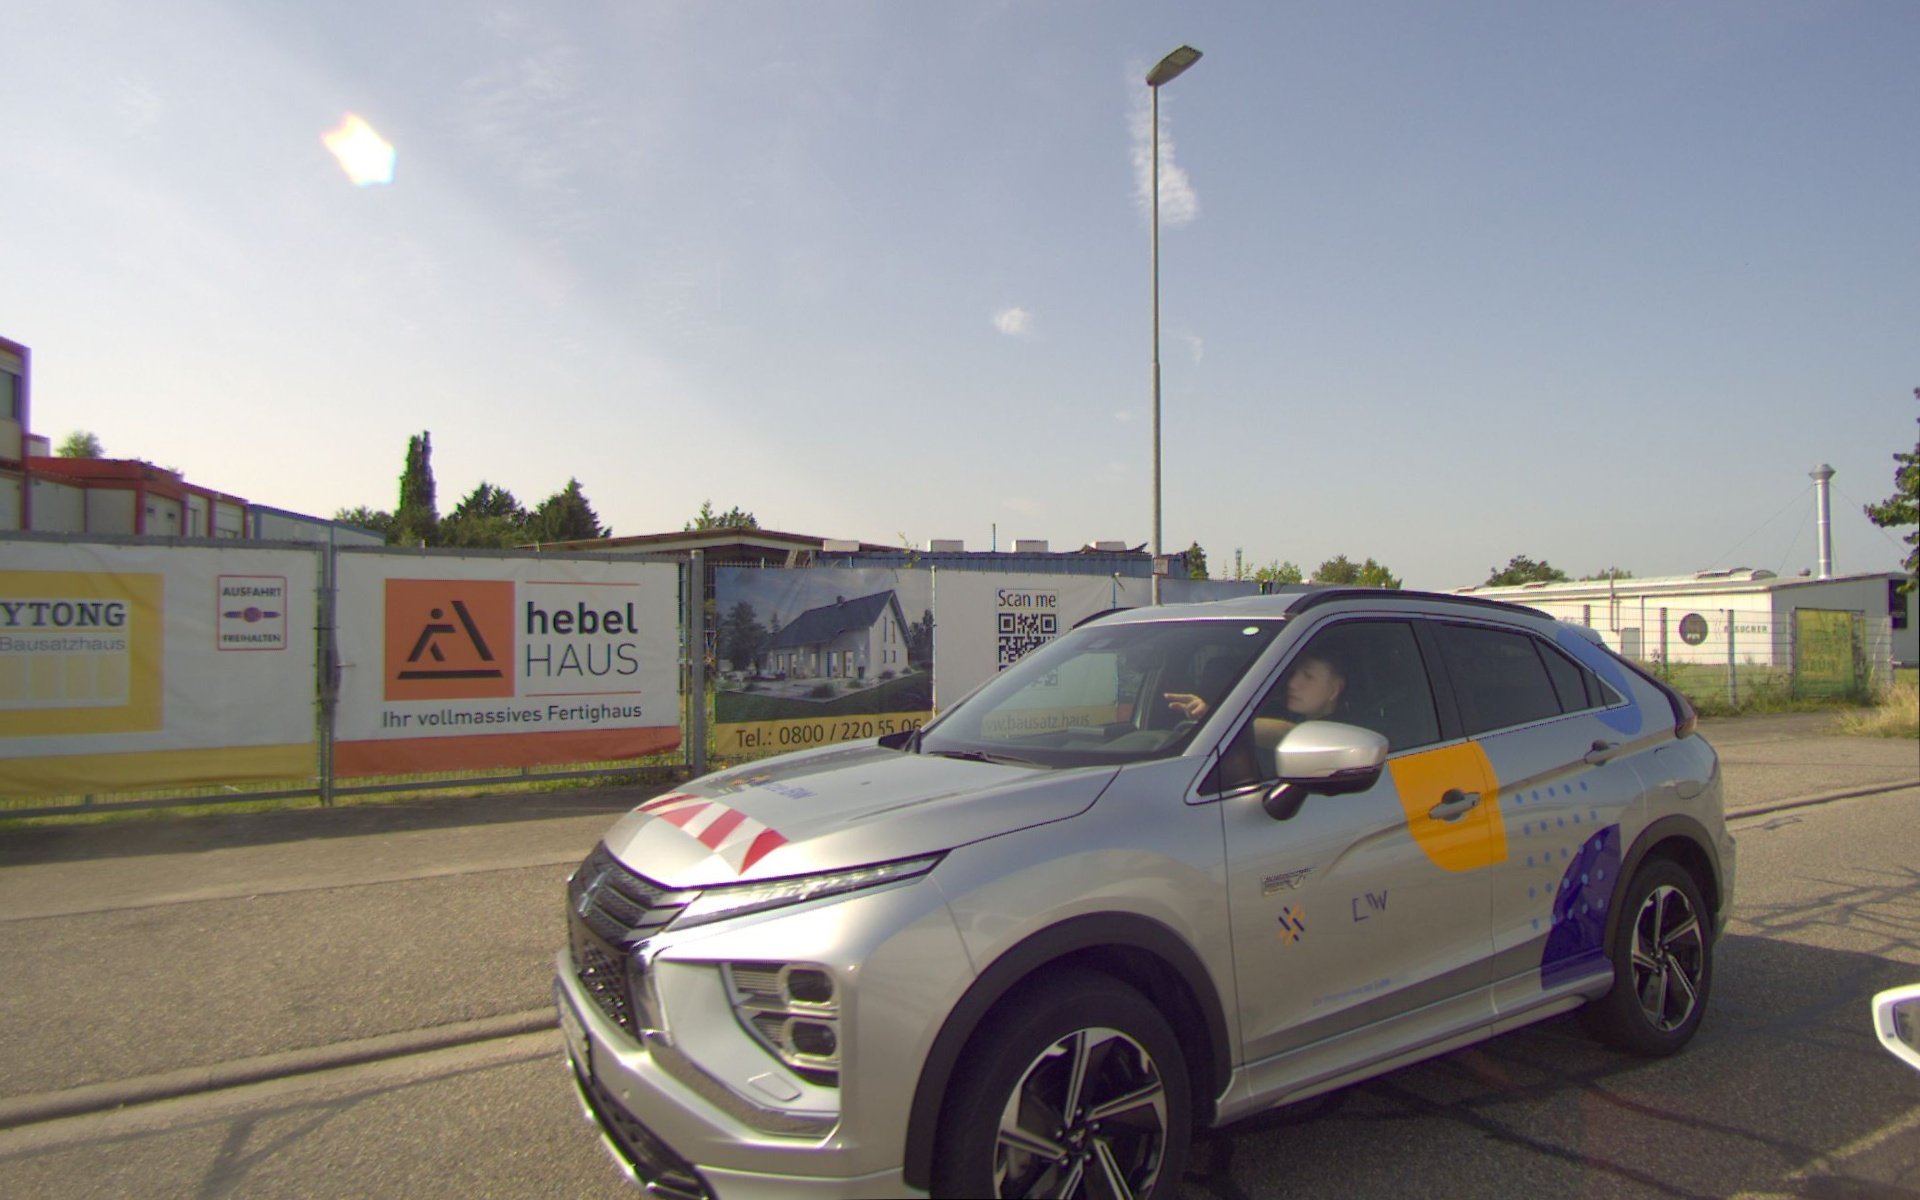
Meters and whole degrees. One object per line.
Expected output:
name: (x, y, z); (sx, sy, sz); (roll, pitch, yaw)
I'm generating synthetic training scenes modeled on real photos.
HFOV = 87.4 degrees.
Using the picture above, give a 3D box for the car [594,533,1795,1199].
car: (1.023, 0.774, 3.676); (4.200, 1.648, 1.803); (1, -3, -31)

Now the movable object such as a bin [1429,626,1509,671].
movable object such as a bin: (29.226, 2.764, 57.831); (2.209, 2.488, 4.305); (0, -2, -4)
